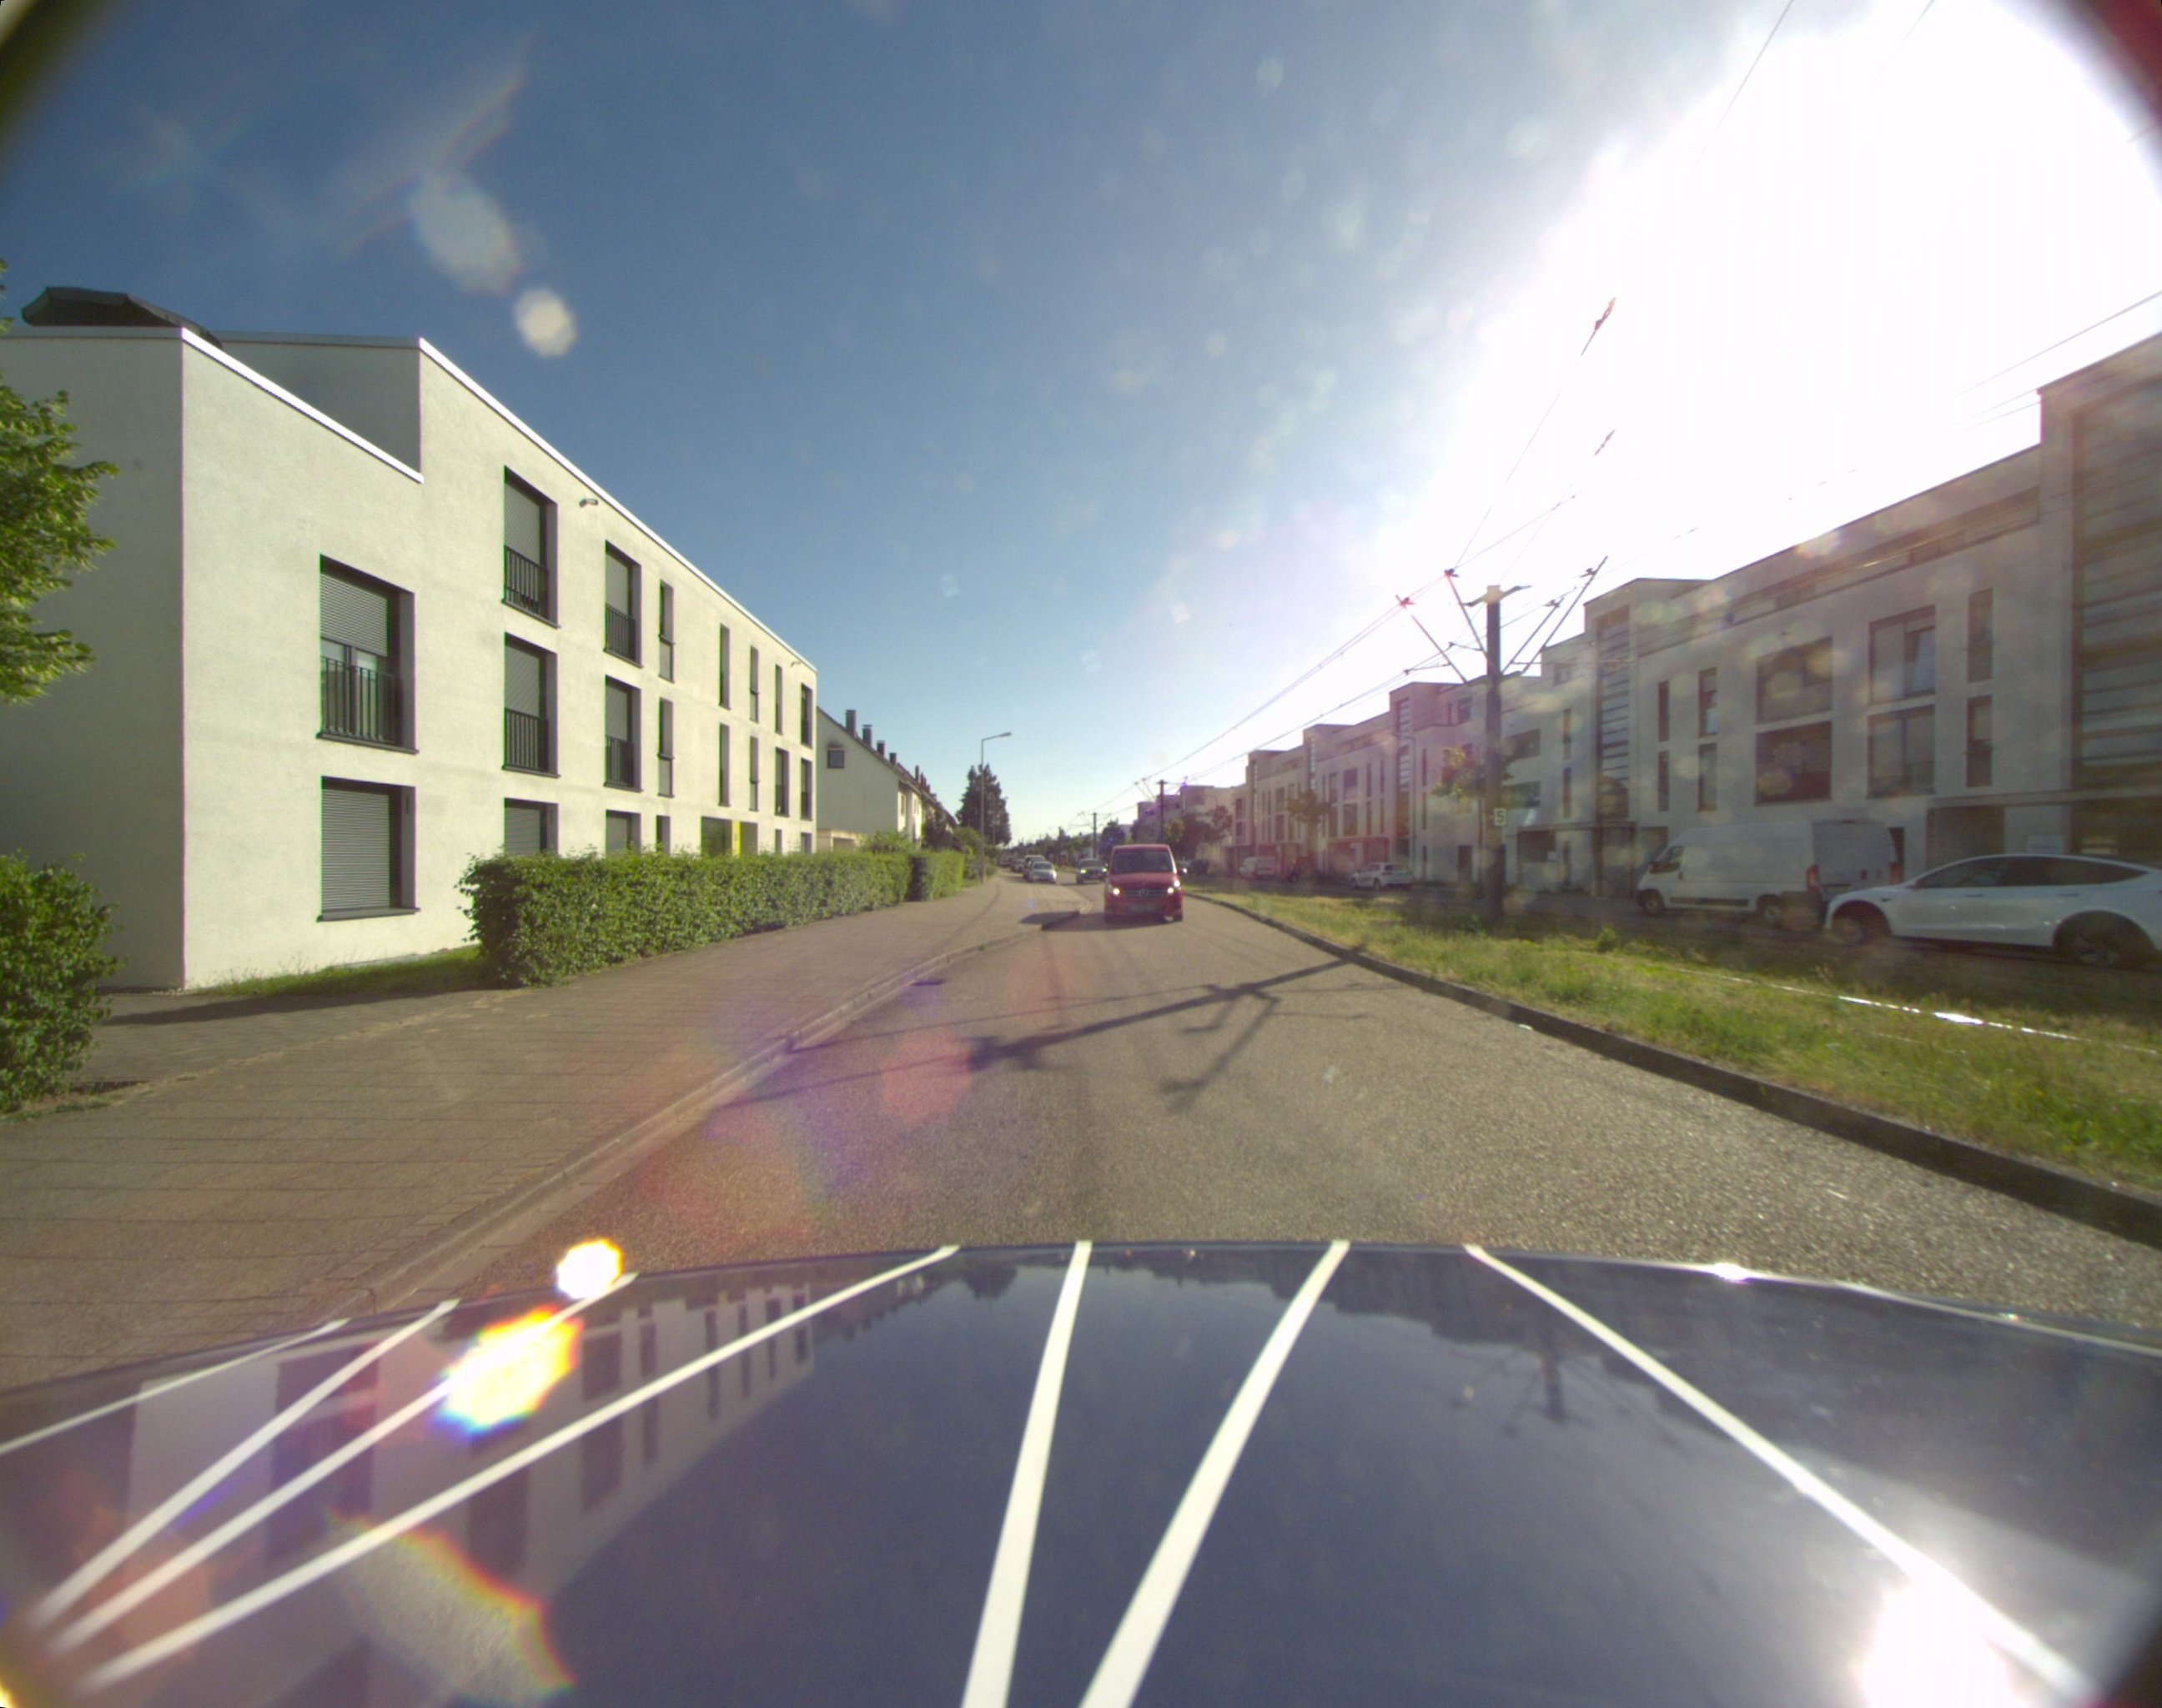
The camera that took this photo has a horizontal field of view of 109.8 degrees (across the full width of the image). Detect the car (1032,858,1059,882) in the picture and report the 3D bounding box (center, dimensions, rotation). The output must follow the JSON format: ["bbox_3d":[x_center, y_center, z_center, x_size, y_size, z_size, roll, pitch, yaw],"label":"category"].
[{"bbox_3d":[-2.374,1.044,50.634,1.700,1.466,4.012,2,0,-3],"label":"car"}]

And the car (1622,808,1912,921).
[{"bbox_3d":[17.075,0.240,19.490,2.146,2.430,5.588,-2,0,-4],"label":"car"}]

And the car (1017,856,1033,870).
[{"bbox_3d":[-6.615,1.046,90.432,1.700,1.604,4.012,2,0,-3],"label":"car"}]

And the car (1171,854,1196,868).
[{"bbox_3d":[11.509,0.781,85.497,1.767,1.590,4.155,-2,0,-6],"label":"car"}]

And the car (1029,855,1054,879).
[{"bbox_3d":[-2.915,0.928,56.088,1.700,1.692,4.012,2,0,-3],"label":"car"}]

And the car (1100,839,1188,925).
[{"bbox_3d":[1.623,0.660,20.347,1.979,1.922,5.206,-2,0,3],"label":"car"}]

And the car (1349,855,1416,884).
[{"bbox_3d":[15.773,0.776,39.959,1.521,1.423,4.155,-2,0,-6],"label":"car"}]

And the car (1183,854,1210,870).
[{"bbox_3d":[12.105,0.787,79.882,1.767,1.590,4.155,-2,0,-6],"label":"car"}]

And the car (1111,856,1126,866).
[{"bbox_3d":[6.197,1.173,125.203,1.767,1.590,4.155,-2,0,-6],"label":"car"}]

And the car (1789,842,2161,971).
[{"bbox_3d":[14.200,0.686,11.737,1.999,1.586,4.645,2,0,-4],"label":"car"}]

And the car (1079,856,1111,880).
[{"bbox_3d":[0.886,0.891,50.167,1.893,1.506,3.752,2,0,-3],"label":"car"}]

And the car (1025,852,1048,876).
[{"bbox_3d":[-3.838,0.876,66.432,1.893,1.951,4.012,2,0,-3],"label":"car"}]

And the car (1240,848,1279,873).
[{"bbox_3d":[14.104,0.529,60.253,1.767,1.859,4.155,-2,0,-6],"label":"car"}]

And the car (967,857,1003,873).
[{"bbox_3d":[-11.270,1.304,89.338,3.997,1.674,2.000,-2,0,0],"label":"car"}]

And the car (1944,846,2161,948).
[{"bbox_3d":[17.476,0.653,12.621,1.829,1.528,3.841,-2,0,-2],"label":"car"}]

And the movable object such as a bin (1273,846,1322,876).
[{"bbox_3d":[14.785,0.482,52.207,1.767,1.926,4.155,-2,0,-6],"label":"movable object such as a bin"}]

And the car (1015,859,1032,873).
[{"bbox_3d":[-6.303,1.308,83.661,1.700,1.466,4.012,2,0,-3],"label":"car"}]
